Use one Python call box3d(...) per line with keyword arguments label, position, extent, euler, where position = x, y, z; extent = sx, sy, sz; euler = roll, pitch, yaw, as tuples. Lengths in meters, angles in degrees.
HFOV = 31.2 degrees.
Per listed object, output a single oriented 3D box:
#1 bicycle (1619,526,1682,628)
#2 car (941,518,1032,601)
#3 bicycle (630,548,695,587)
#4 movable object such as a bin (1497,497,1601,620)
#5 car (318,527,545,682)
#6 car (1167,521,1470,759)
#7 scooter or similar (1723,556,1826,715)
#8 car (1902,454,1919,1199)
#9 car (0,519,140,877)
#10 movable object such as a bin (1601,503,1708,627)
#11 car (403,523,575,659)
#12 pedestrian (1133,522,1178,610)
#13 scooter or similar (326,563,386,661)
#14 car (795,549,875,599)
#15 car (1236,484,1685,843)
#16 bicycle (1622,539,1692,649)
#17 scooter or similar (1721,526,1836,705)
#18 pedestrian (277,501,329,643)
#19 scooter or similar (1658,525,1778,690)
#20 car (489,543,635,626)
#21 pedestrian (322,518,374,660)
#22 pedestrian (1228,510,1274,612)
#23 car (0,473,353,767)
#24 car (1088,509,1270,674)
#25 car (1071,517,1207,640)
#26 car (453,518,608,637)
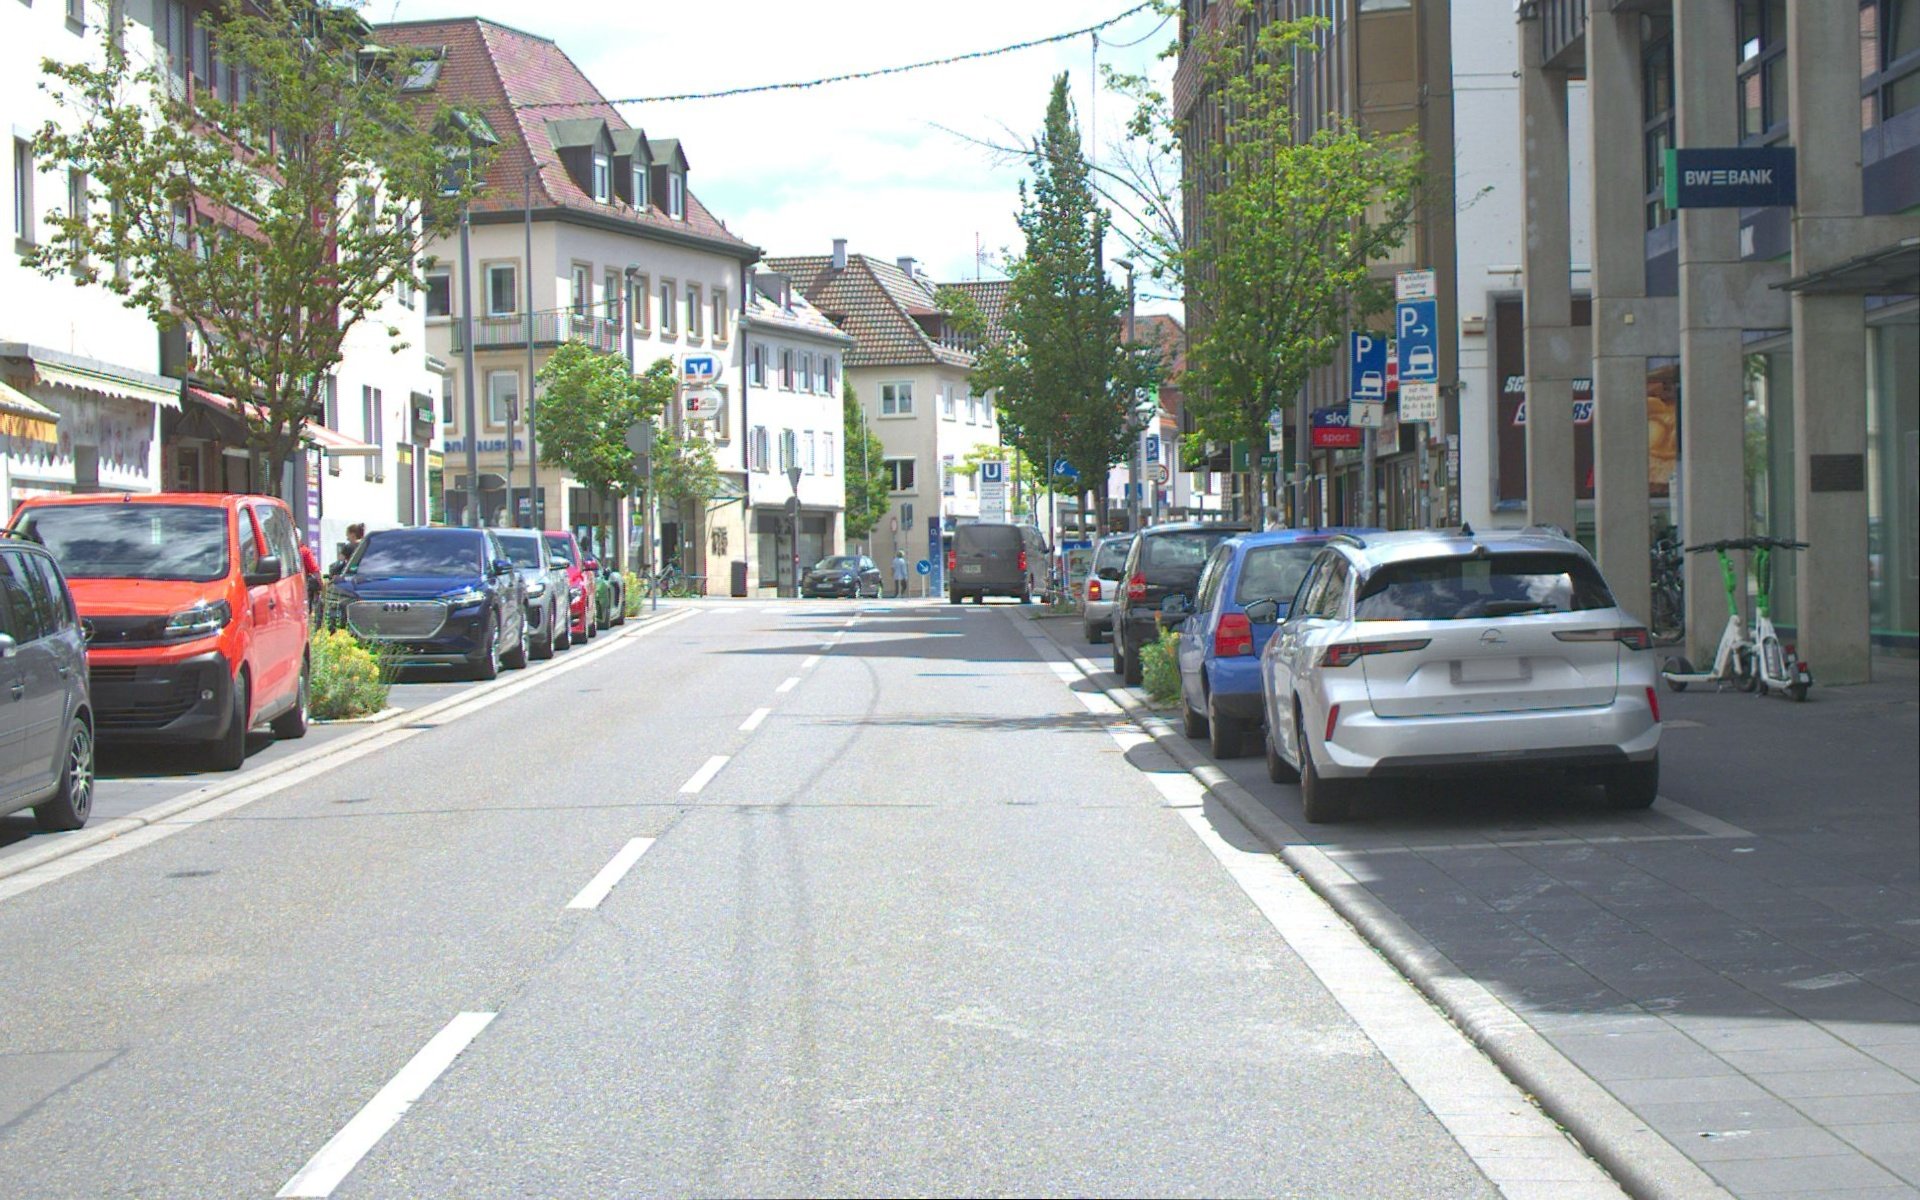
box3d(label="bicycle", position=(7.753, -0.259, 38.631), extent=(0.425, 1.115, 1.502), euler=(1, 0, 2))
box3d(label="car", position=(0.621, -0.928, 79.991), extent=(2.041, 1.842, 4.999), euler=(1, 0, 1))
box3d(label="bicycle", position=(-8.065, -0.884, 93.166), extent=(1.633, 1.027, 0.567), euler=(1, 0, 15))
box3d(label="movable object such as a bin", position=(7.394, -0.519, 43.190), extent=(1.142, 1.522, 1.032), euler=(1, 0, 2))
box3d(label="car", position=(-5.695, 0.000, 37.518), extent=(1.799, 1.592, 4.389), euler=(0, 1, 0))
box3d(label="car", position=(2.408, 0.237, 23.959), extent=(1.721, 1.488, 4.109), euler=(1, 0, 1))
box3d(label="scooter or similar", position=(6.562, 0.274, 27.743), extent=(0.422, 1.241, 1.561), euler=(1, 0, -1))
box3d(label="car", position=(2.504, 0.569, 3.765), extent=(1.721, 1.571, 4.109), euler=(1, 0, -1))
box3d(label="car", position=(-5.576, 0.464, 17.159), extent=(1.816, 1.749, 4.464), euler=(1, 0, 1))
box3d(label="movable object such as a bin", position=(8.693, -0.436, 43.081), extent=(1.142, 1.522, 1.032), euler=(1, 0, 2))
box3d(label="car", position=(-5.874, -0.155, 43.266), extent=(1.799, 1.598, 4.352), euler=(-1, 1, -3))
box3d(label="pedestrian", position=(3.647, -0.635, 64.220), extent=(0.784, 1.610, 0.800), euler=(1, 0, 0))
box3d(label="scooter or similar", position=(-7.168, 0.135, 40.841), extent=(0.562, 1.147, 0.985), euler=(1, 0, -2))
box3d(label="car", position=(-3.827, -0.795, 105.707), extent=(1.625, 1.481, 3.803), euler=(1, 0, 11))
box3d(label="car", position=(2.535, 0.256, 18.414), extent=(1.721, 1.571, 4.429), euler=(-4, 1, 1))
box3d(label="bicycle", position=(7.309, -0.069, 36.091), extent=(0.425, 1.115, 1.741), euler=(1, 0, 2))
box3d(label="scooter or similar", position=(5.869, 0.103, 24.709), extent=(0.422, 1.241, 1.561), euler=(1, 0, -1))
box3d(label="pedestrian", position=(-7.668, -0.324, 40.121), extent=(0.501, 1.642, 0.575), euler=(1, 0, -3))
box3d(label="scooter or similar", position=(5.846, 0.051, 26.560), extent=(0.405, 1.241, 1.325), euler=(1, 0, -11))
box3d(label="car", position=(-6.336, -0.279, 55.128), extent=(1.819, 1.219, 4.524), euler=(1, 1, 0))
box3d(label="pedestrian", position=(-7.136, -0.126, 40.098), extent=(0.514, 1.642, 0.472), euler=(1, 0, -2))
box3d(label="pedestrian", position=(5.228, -0.702, 61.709), extent=(0.737, 1.808, 0.711), euler=(1, 0, 0))
box3d(label="car", position=(-5.711, 0.108, 24.654), extent=(1.816, 1.882, 4.841), euler=(1, 0, 0))
box3d(label="car", position=(2.156, -0.119, 34.624), extent=(1.609, 1.527, 3.795), euler=(-2, 1, 1))
box3d(label="car", position=(2.387, -0.323, 46.552), extent=(1.609, 1.490, 3.795), euler=(-4, 1, 1))
box3d(label="car", position=(-6.034, -0.350, 48.698), extent=(1.799, 1.598, 4.219), euler=(-1, 1, -2))
